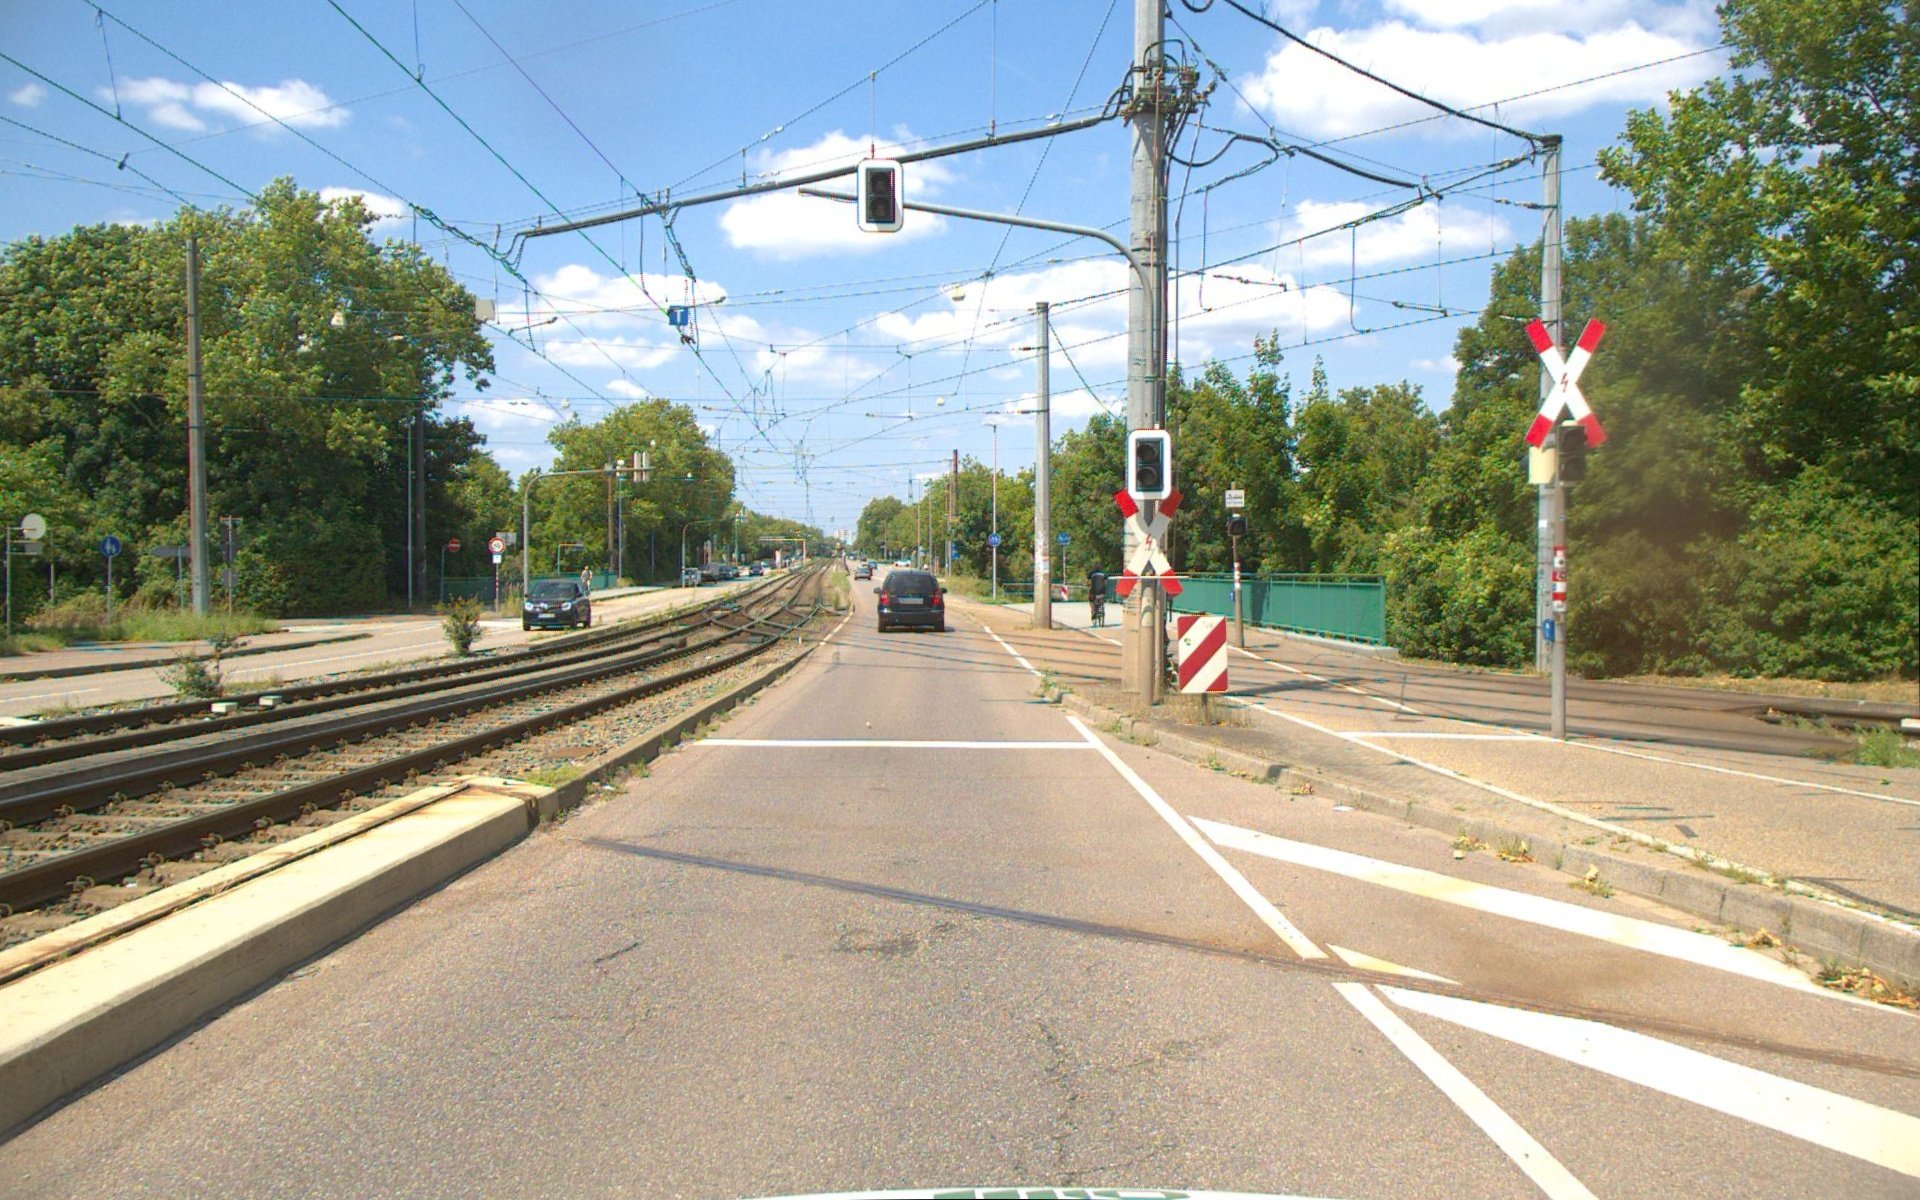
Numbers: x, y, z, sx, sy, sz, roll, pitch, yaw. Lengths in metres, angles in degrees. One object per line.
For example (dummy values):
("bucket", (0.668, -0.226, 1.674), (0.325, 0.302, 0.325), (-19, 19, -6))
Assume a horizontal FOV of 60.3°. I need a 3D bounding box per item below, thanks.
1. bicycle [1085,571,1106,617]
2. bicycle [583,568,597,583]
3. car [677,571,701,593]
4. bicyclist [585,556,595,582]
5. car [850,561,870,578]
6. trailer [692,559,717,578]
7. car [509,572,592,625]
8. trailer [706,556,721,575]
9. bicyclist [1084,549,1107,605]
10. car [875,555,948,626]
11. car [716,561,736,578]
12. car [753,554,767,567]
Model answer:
("bicycle", (3.758, -0.181, 45.995), (0.423, 1.172, 1.855), (1, 3, 1))
("bicycle", (-21.534, -1.423, 96.230), (0.459, 0.883, 1.742), (0, 1, -2))
("car", (-24.774, -1.671, 151.249), (1.687, 1.658, 4.612), (-3, 3, -5))
("bicyclist", (-21.533, -1.824, 96.292), (0.447, 1.499, 0.633), (0, 1, -2))
("car", (-11.077, -3.348, 183.586), (1.846, 1.668, 4.001), (3, 2, 0))
("trailer", (-25.770, -3.206, 166.738), (2.416, 1.921, 5.951), (0, 2, -9))
("car", (-13.007, -0.071, 52.688), (1.670, 1.536, 3.734), (-1, 2, 0))
("trailer", (-27.856, -3.882, 187.059), (1.579, 2.048, 3.911), (1, 2, -7))
("bicyclist", (3.762, -0.638, 45.925), (0.573, 1.520, 0.558), (1, 2, 0))
("car", (-1.244, -0.298, 43.775), (1.815, 1.597, 4.389), (1, 3, -1))
("car", (-28.294, -3.724, 200.093), (1.954, 2.049, 3.998), (0, 1, -3))
("car", (-28.227, -5.574, 233.325), (1.838, 1.750, 5.326), (0, 1, -5))
